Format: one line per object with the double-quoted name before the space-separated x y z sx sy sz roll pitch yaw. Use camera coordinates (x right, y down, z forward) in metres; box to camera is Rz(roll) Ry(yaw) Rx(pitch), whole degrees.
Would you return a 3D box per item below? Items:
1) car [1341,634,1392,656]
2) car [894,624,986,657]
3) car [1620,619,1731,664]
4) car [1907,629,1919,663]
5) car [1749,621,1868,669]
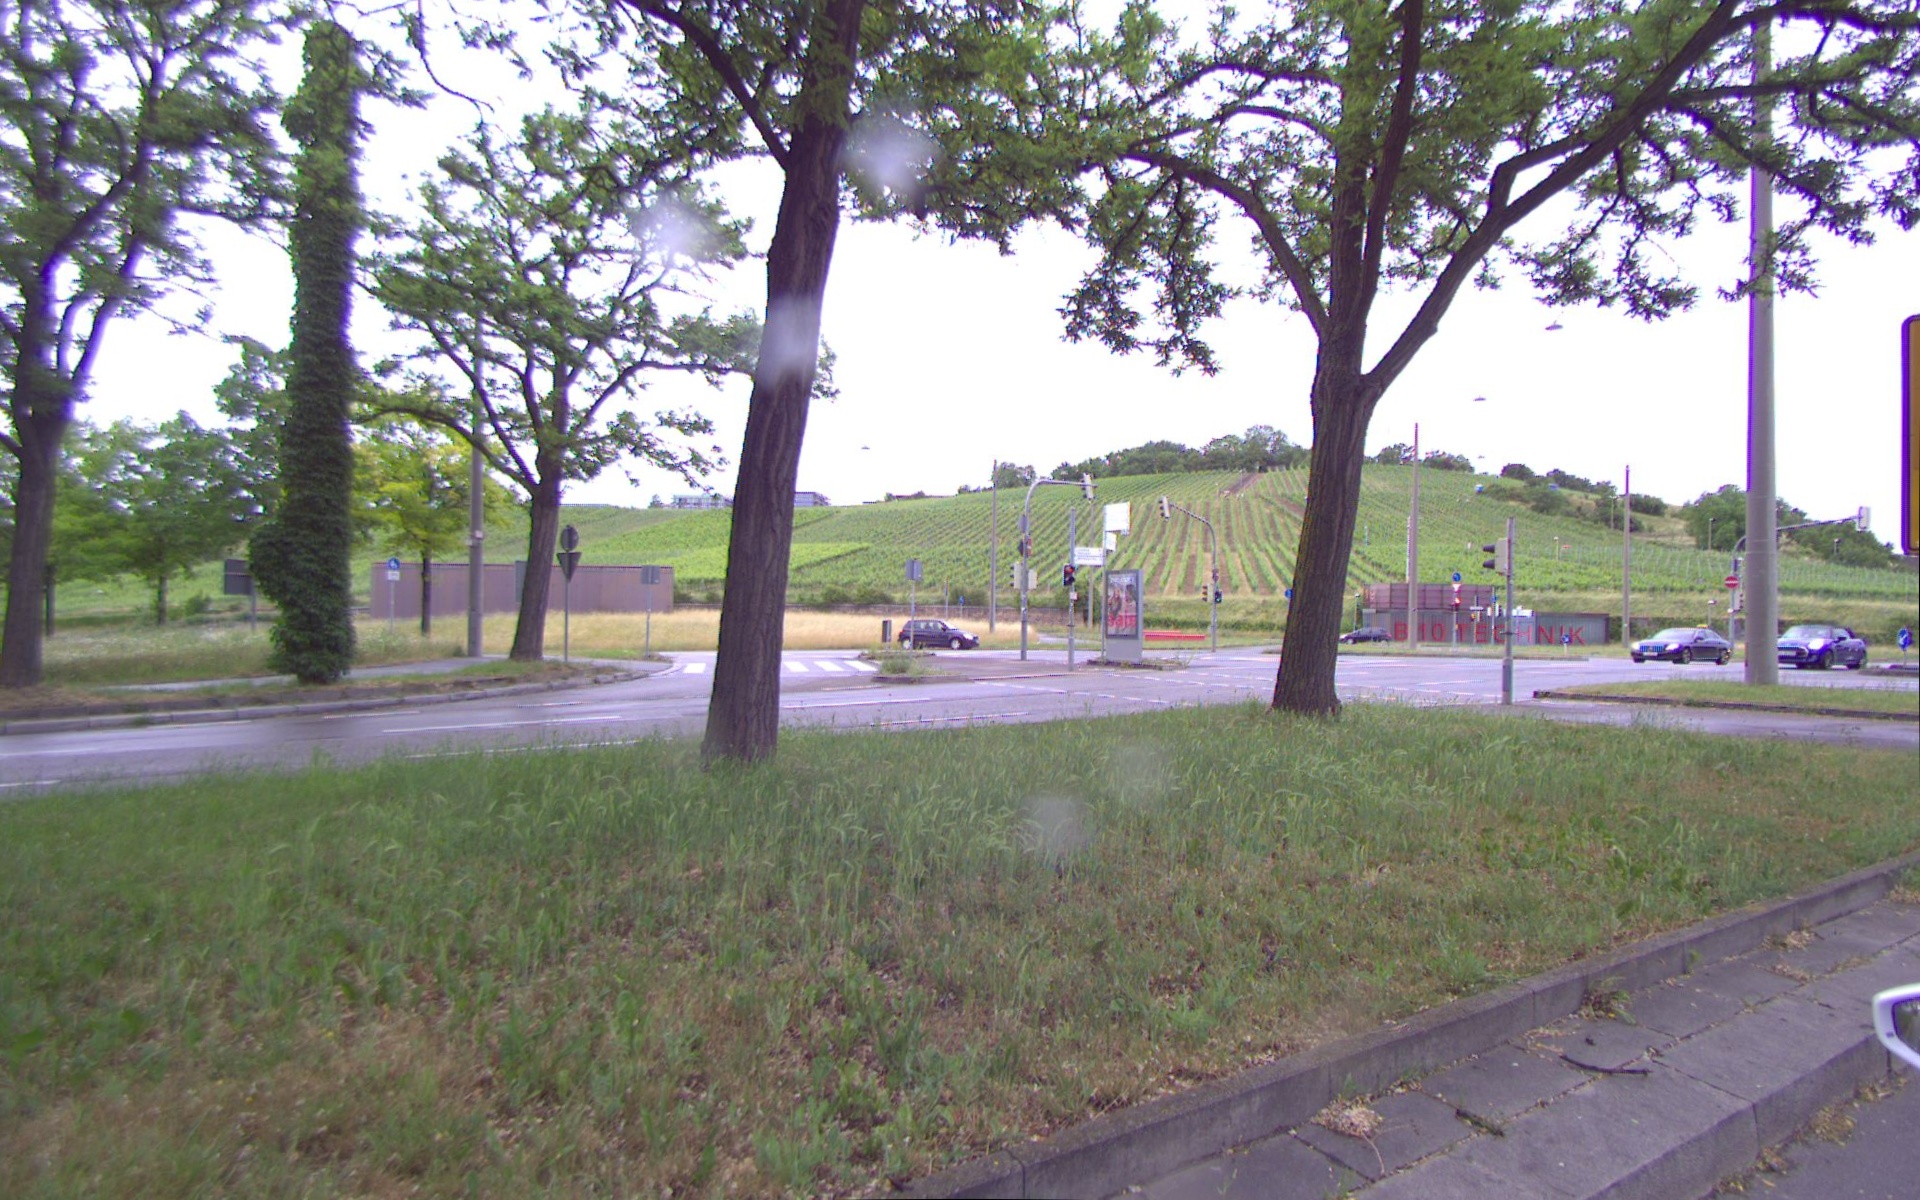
"car" 32.510 3.578 80.470 3.694 1.538 1.861 2 1 20
"car" -0.940 1.913 47.746 3.920 1.307 1.799 2 1 19
"car" 28.558 1.658 40.082 4.511 1.645 1.821 2 1 -29
"car" 43.994 2.018 43.830 4.592 1.492 1.824 0 -1 -17
"car" 27.764 1.479 32.851 3.837 1.414 1.778 3 0 -30
